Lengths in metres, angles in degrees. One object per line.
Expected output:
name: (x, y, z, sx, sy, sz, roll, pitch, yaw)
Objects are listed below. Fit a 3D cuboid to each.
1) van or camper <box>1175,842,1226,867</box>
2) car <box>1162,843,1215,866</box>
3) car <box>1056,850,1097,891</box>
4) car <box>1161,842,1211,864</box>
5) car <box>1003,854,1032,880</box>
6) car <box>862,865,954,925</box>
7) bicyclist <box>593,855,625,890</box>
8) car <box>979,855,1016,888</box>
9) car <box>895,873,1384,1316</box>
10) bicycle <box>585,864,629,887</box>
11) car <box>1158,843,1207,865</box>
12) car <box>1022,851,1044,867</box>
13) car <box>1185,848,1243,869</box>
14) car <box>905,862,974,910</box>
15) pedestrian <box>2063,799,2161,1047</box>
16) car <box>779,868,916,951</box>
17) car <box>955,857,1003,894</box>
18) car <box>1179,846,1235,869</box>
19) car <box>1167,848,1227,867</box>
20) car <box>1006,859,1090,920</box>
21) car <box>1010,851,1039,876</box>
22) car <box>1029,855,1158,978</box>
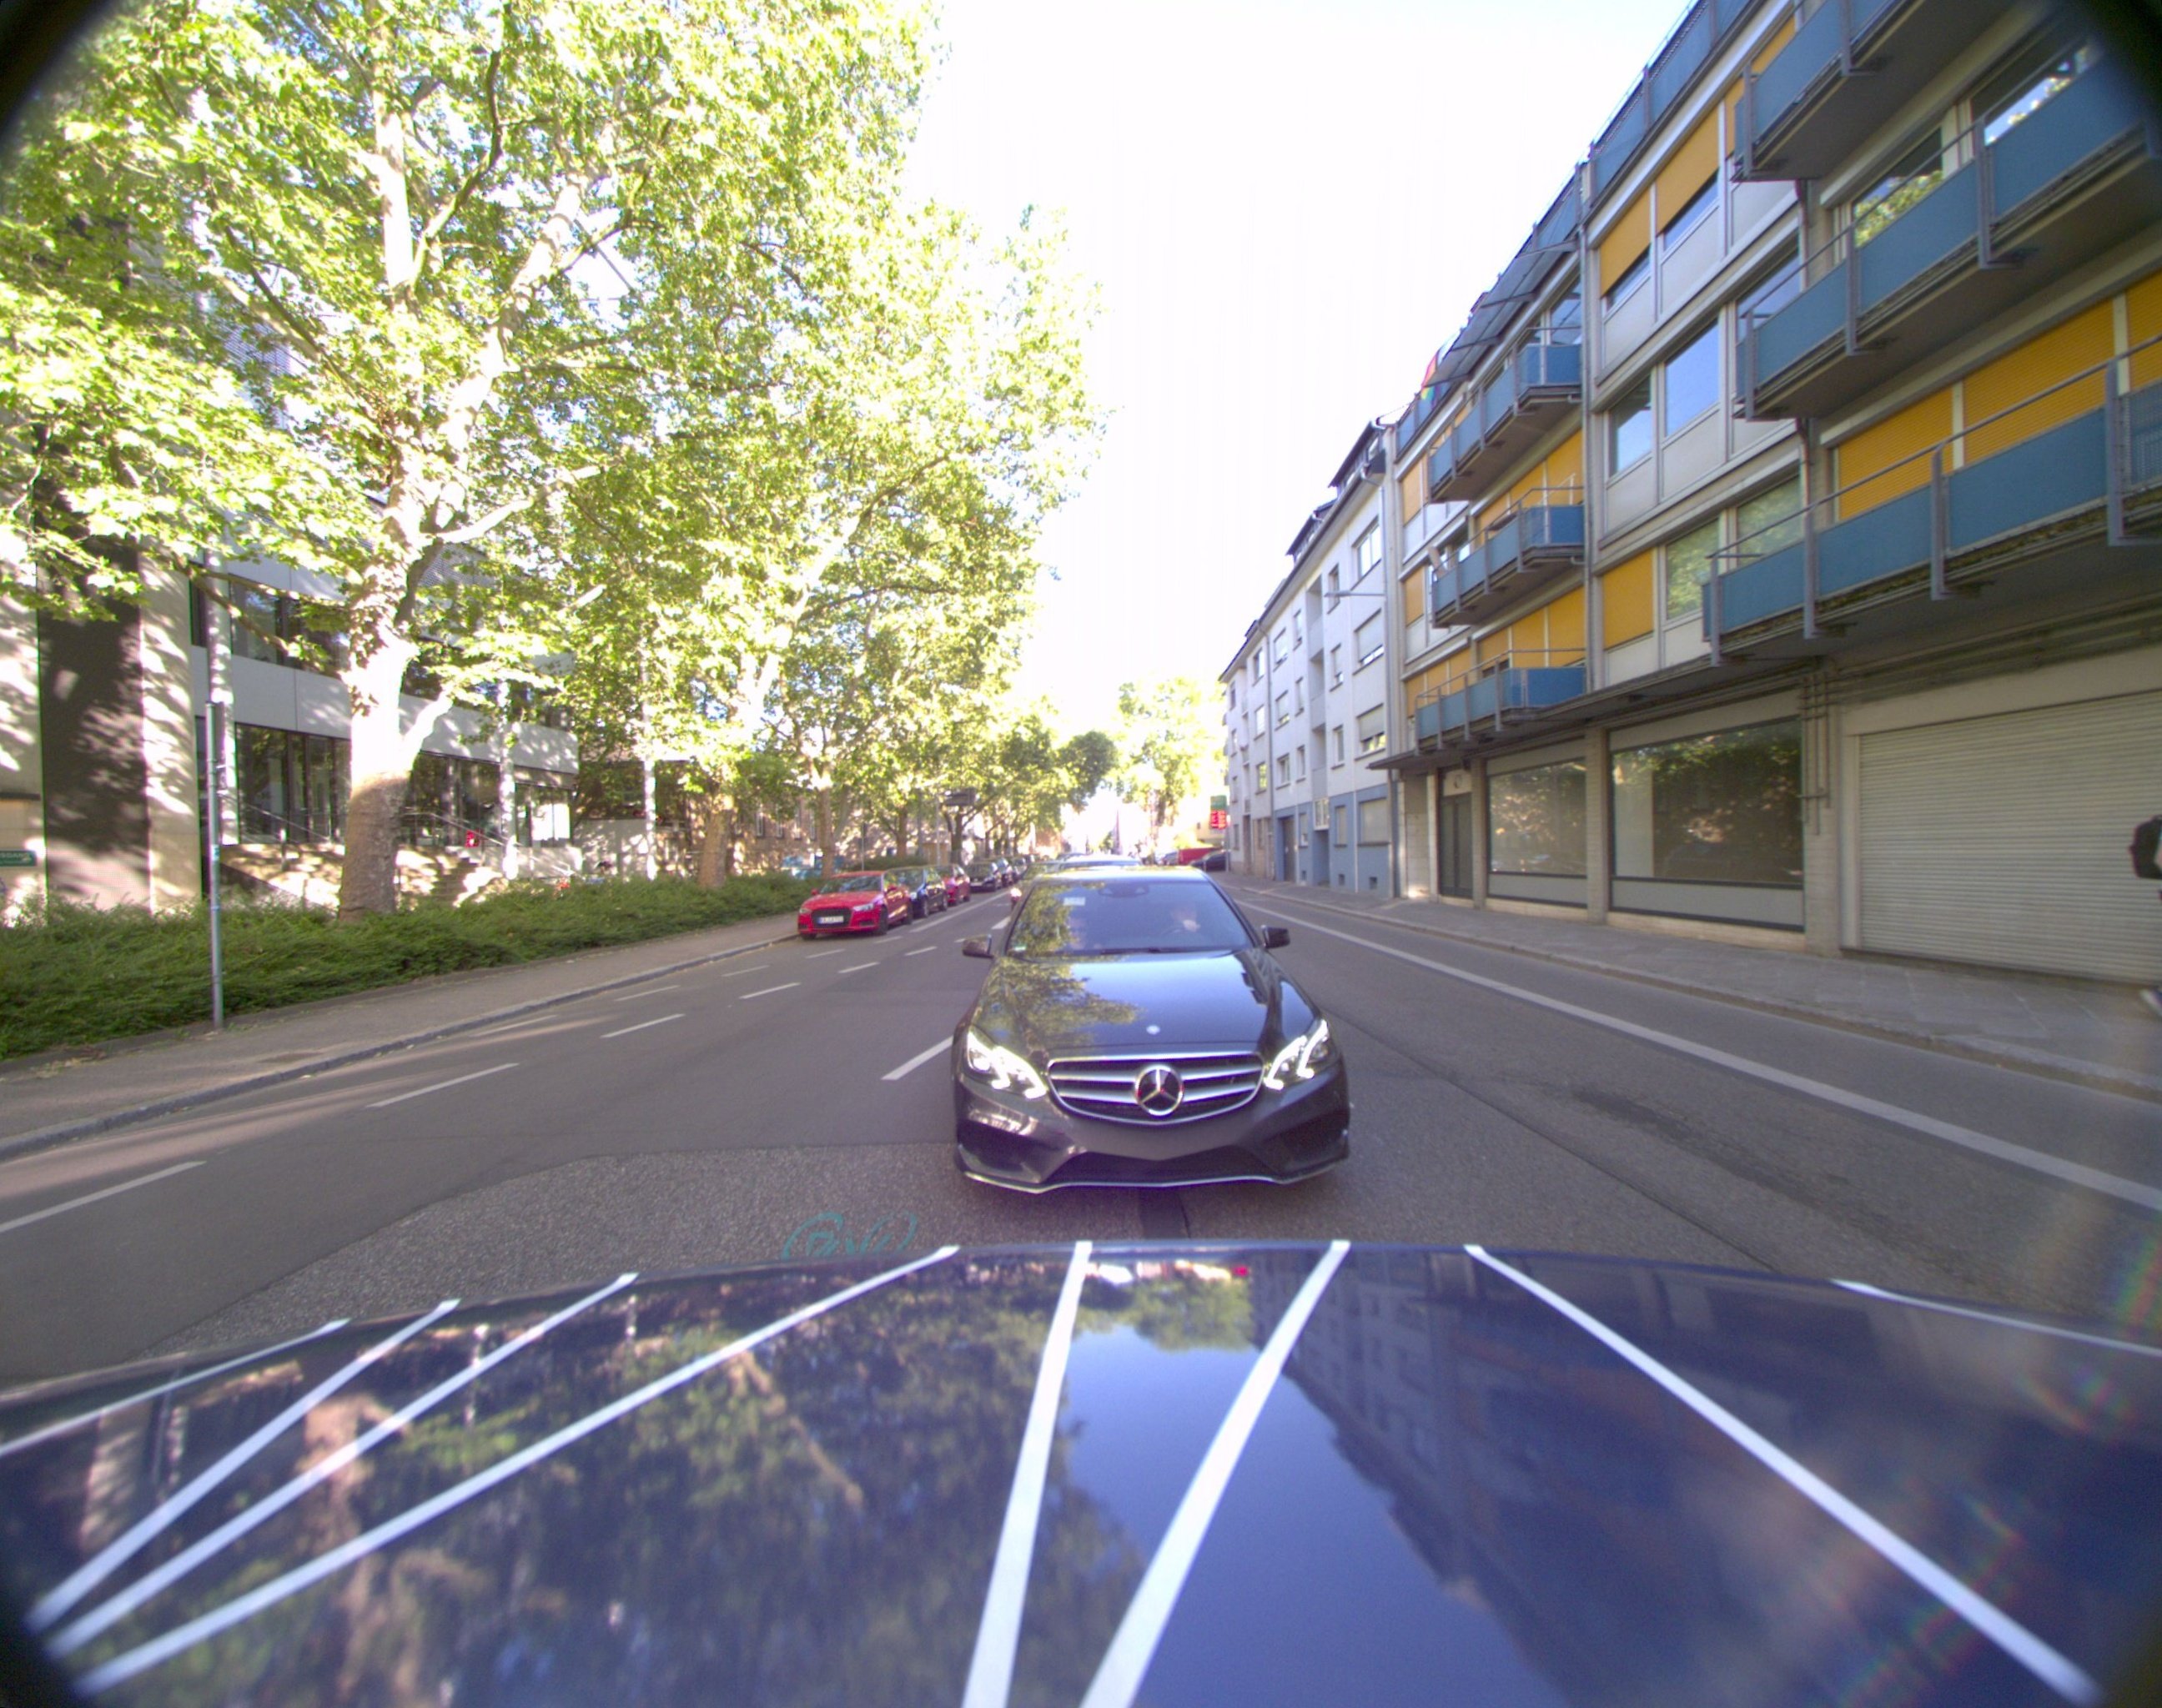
van or camper: (10.056, 0.025, 64.182, 3.997, 2.002, 2.000, -2, 1, 0)
car: (10.911, 0.027, 77.323, 4.990, 2.181, 2.000, -2, 1, 1)
car: (-0.176, 0.748, 37.292, 1.785, 1.760, 4.384, -4, 0, 1)
car: (11.031, -0.100, 80.174, 4.990, 2.181, 2.000, -2, 1, 1)
car: (-4.565, 0.909, 54.920, 1.741, 1.785, 3.895, -2, 0, 0)
car: (-5.022, 1.135, 22.609, 1.741, 1.444, 4.091, -4, 0, 0)
bicyclist: (-22.601, 0.892, 36.370, 1.036, 1.610, 0.698, -2, 1, 13)
car: (-4.599, 0.941, 42.359, 1.634, 1.677, 3.907, -2, 0, 0)
car: (0.213, 0.929, 4.712, 1.740, 1.448, 3.864, -2, 0, 0)
bicycle: (-22.695, 1.028, 36.386, 1.796, 1.009, 0.735, -2, 1, 13)
car: (11.034, -0.006, 82.806, 4.990, 2.181, 2.000, -2, 1, 1)
car: (-4.387, 0.439, 70.429, 1.741, 1.469, 4.091, -2, 0, 0)
car: (10.311, 0.325, 58.945, 4.146, 1.486, 2.000, -2, 0, 1)
car: (-5.049, 1.103, 27.570, 1.681, 1.484, 3.918, -4, 0, 0)
pedestrian: (8.077, 0.488, 5.555, 0.601, 1.790, 0.879, -3, 1, 1)
car: (-5.225, 1.174, 17.649, 1.830, 1.519, 4.142, -4, 0, 0)
car: (-4.949, 0.993, 37.308, 1.741, 1.622, 4.091, -2, 0, 0)
car: (10.134, 0.270, 61.276, 4.146, 1.681, 2.000, -2, 0, 1)
car: (10.157, 0.286, 66.685, 4.990, 1.486, 2.000, -2, 0, 1)
car: (-0.825, 0.923, 21.573, 1.647, 1.473, 3.978, -2, 0, 8)
car: (-4.393, 0.726, 59.654, 1.992, 1.795, 4.376, -2, 0, 0)
car: (0.203, 0.850, 12.515, 1.646, 1.520, 4.619, -4, 0, 1)
